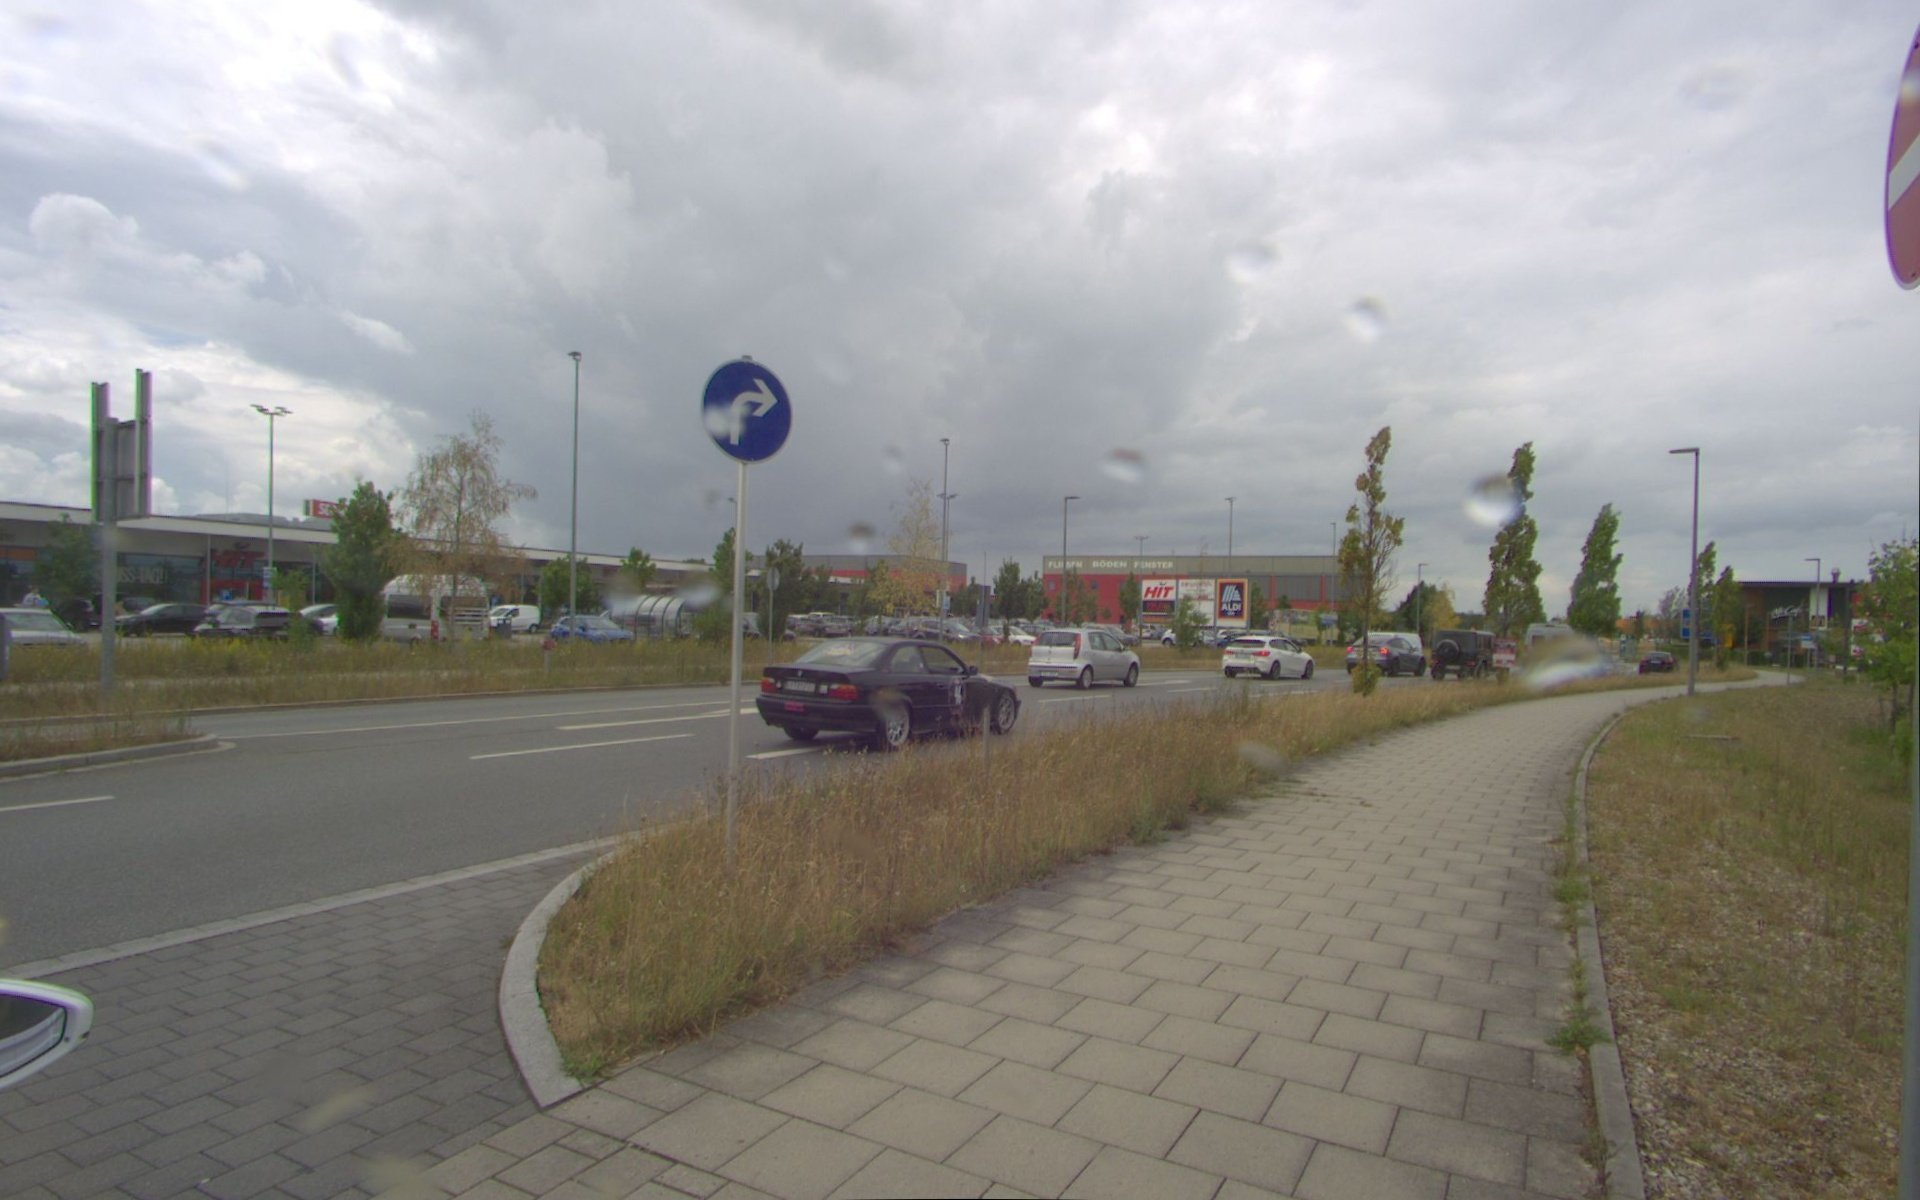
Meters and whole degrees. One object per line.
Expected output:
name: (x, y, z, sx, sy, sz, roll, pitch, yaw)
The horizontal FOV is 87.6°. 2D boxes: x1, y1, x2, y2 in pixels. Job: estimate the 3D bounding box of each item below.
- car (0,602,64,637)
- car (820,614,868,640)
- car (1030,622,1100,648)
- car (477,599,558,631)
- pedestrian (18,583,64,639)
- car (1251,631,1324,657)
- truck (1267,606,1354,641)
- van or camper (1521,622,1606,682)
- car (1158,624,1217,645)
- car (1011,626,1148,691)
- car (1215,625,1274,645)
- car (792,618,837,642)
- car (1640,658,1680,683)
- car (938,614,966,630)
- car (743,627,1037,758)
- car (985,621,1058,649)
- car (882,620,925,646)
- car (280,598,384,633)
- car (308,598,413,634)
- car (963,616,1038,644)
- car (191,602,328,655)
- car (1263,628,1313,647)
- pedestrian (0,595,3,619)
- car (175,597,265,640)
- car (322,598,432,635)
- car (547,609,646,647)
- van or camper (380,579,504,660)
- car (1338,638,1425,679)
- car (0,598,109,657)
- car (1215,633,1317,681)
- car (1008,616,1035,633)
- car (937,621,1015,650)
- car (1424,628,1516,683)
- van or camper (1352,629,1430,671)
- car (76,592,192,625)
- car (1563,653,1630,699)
car: (-44.218, 0.904, 46.979, 3.937, 1.527, 1.993, 1, -1, 28)
car: (-8.259, 1.910, 71.716, 1.964, 1.756, 3.994, 1, 0, 17)
car: (6.344, 2.122, 60.687, 3.765, 1.408, 1.901, 1, 0, 38)
car: (-27.150, 0.932, 61.613, 1.966, 1.842, 4.418, 1, -1, 23)
pedestrian: (-33.859, 0.405, 36.908, 0.986, 2.040, 0.866, 2, 0, 20)
car: (20.025, 2.682, 61.278, 3.942, 1.394, 1.856, 1, -1, 32)
truck: (31.961, 2.153, 91.166, 8.061, 2.984, 2.667, 2, 0, -28)
van or camper: (28.599, 2.463, 47.321, 2.172, 2.574, 6.115, 1, -2, 43)
car: (16.495, 2.476, 72.739, 3.800, 1.446, 1.728, 0, -2, 42)
car: (3.109, 1.427, 25.445, 1.778, 1.480, 3.791, 1, -1, 37)
car: (22.226, 2.765, 78.211, 3.950, 1.460, 1.987, 0, -2, 38)
car: (-10.462, 2.135, 72.366, 1.731, 1.675, 3.831, 1, 0, 17)
car: (42.151, 4.227, 60.262, 1.479, 1.403, 3.313, 0, -2, 43)
car: (-0.800, 2.355, 108.767, 1.732, 1.675, 3.828, 1, 0, 21)
car: (-0.742, 1.099, 13.433, 1.734, 1.404, 4.280, 1, -1, 32)
car: (3.518, 1.993, 57.419, 3.765, 1.408, 1.901, 1, 0, 38)
car: (-3.892, 2.246, 69.250, 1.731, 1.675, 3.831, 1, 0, 17)
car: (-31.681, 0.791, 50.588, 1.972, 1.639, 3.978, 1, -1, 34)
car: (-29.387, 0.790, 49.155, 1.972, 1.639, 3.978, 1, -1, 34)
car: (2.255, 1.667, 55.672, 3.765, 1.408, 1.901, 1, 0, 38)
car: (-20.911, 0.828, 29.866, 4.091, 1.469, 1.985, 0, -2, 33)
car: (27.329, 3.098, 83.460, 3.780, 1.446, 1.736, 1, -1, 27)
pedestrian: (-49.823, 0.354, 51.628, 0.519, 1.217, 0.560, 1, 0, 26)
car: (-30.838, 0.748, 41.699, 3.944, 1.675, 1.810, 1, 0, 34)
car: (-27.184, 0.793, 46.800, 1.972, 1.639, 3.978, 1, -1, 34)
car: (-14.340, 1.108, 39.448, 4.098, 1.402, 1.798, 0, -2, 39)
van or camper: (-17.276, 0.647, 33.352, 3.951, 2.524, 2.274, 0, -1, 39)
car: (17.431, 2.350, 41.285, 1.790, 1.528, 4.844, 1, -1, 42)
car: (-23.870, 0.686, 25.722, 4.091, 1.402, 1.985, 0, -2, 33)
car: (10.528, 1.900, 34.295, 1.780, 1.469, 4.215, 1, -1, 41)
car: (6.580, 2.593, 106.035, 1.732, 1.675, 3.828, 1, 0, 21)
car: (0.840, 1.879, 53.767, 3.765, 1.408, 1.901, 1, 0, 38)
car: (19.987, 2.161, 39.152, 1.978, 1.948, 4.809, 1, -2, 42)
van or camper: (21.774, 2.479, 50.463, 1.978, 1.936, 5.160, 1, -1, 43)
car: (-40.853, 0.449, 49.643, 1.968, 1.527, 3.987, 1, -1, 27)
car: (26.123, 3.073, 41.058, 1.667, 1.698, 3.476, 0, -2, 43)
